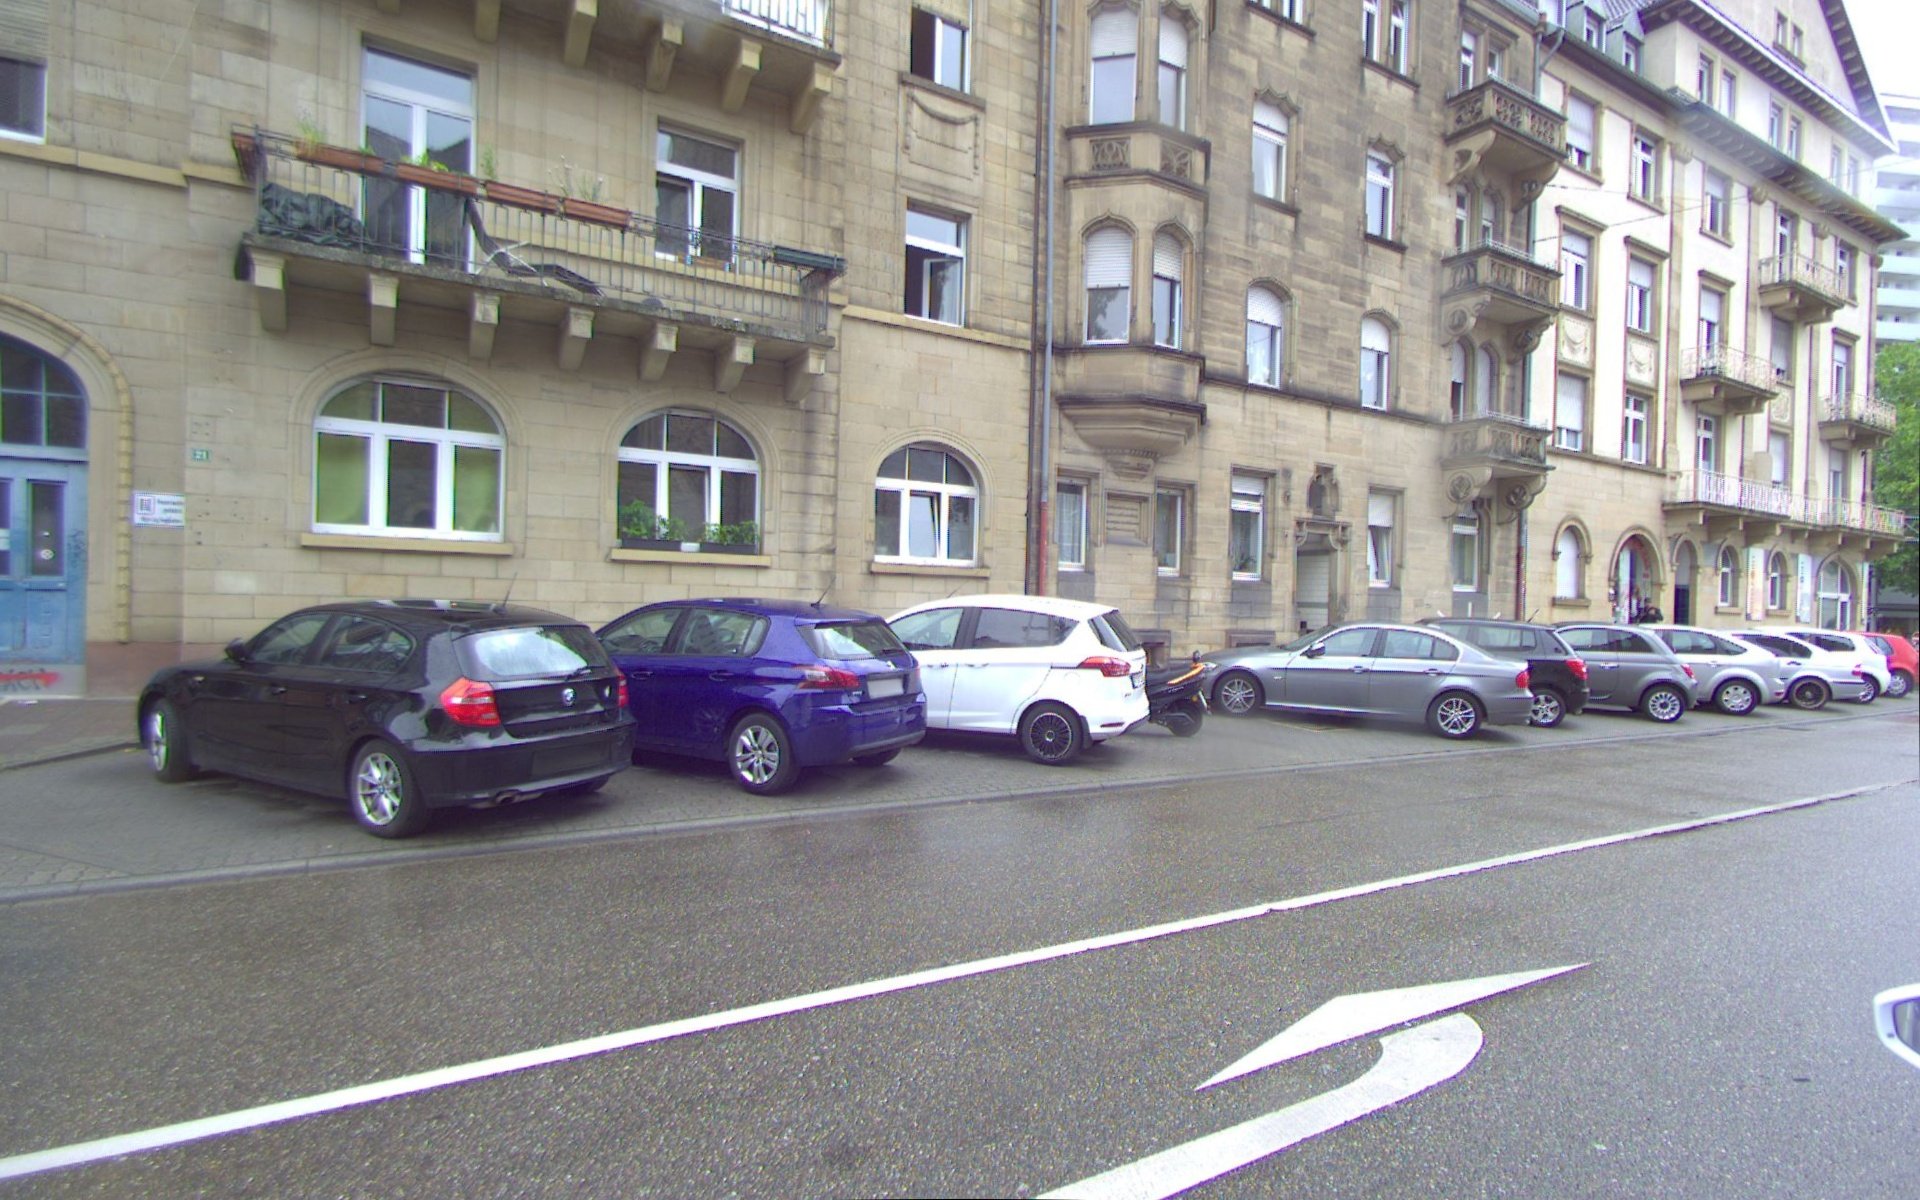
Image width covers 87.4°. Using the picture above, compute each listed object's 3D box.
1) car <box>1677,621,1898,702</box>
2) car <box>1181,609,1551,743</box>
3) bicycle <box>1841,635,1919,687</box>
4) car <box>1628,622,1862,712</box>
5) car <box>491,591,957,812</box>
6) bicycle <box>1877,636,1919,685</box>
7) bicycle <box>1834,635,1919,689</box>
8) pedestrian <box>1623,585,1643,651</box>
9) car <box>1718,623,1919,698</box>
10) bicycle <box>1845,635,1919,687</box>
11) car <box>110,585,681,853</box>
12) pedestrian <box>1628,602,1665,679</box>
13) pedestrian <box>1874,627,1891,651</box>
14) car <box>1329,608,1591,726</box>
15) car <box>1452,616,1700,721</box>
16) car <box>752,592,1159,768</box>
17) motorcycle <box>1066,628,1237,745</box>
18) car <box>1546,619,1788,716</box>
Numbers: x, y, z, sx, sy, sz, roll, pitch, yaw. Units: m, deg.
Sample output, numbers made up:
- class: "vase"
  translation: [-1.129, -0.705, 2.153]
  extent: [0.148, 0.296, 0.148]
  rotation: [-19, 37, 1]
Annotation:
- class: "car"
  translation: [17.950, 1.285, 21.977]
  extent: [3.337, 1.578, 1.705]
  rotation: [1, 0, 21]
- class: "car"
  translation: [5.411, 0.960, 13.879]
  extent: [4.457, 1.565, 1.689]
  rotation: [1, -1, 17]
- class: "bicycle"
  translation: [23.954, 1.560, 25.905]
  extent: [0.492, 1.283, 1.801]
  rotation: [1, -1, -31]
- class: "car"
  translation: [15.672, 1.291, 20.262]
  extent: [3.337, 1.578, 1.705]
  rotation: [1, 0, 21]
- class: "car"
  translation: [-2.195, 0.748, 9.099]
  extent: [3.972, 1.594, 1.795]
  rotation: [1, -1, 31]
- class: "bicycle"
  translation: [26.130, 1.659, 27.257]
  extent: [0.601, 1.283, 1.754]
  rotation: [1, -1, -31]
- class: "bicycle"
  translation: [23.499, 1.556, 25.612]
  extent: [0.516, 1.283, 1.754]
  rotation: [1, -1, -31]
- class: "pedestrian"
  translation: [19.128, 0.518, 28.538]
  extent: [0.343, 1.846, 0.364]
  rotation: [2, -1, -32]
- class: "car"
  translation: [20.219, 1.377, 23.726]
  extent: [3.337, 1.578, 1.705]
  rotation: [1, 0, 21]
- class: "bicycle"
  translation: [24.471, 1.585, 26.365]
  extent: [0.492, 1.283, 1.801]
  rotation: [1, -1, -31]
- class: "car"
  translation: [-4.235, 0.690, 7.485]
  extent: [3.969, 1.532, 1.797]
  rotation: [1, -1, 27]
- class: "pedestrian"
  translation: [18.421, 1.077, 26.947]
  extent: [0.647, 2.040, 0.565]
  rotation: [1, 0, -30]
- class: "pedestrian"
  translation: [59.736, 2.527, 65.032]
  extent: [0.631, 1.550, 0.443]
  rotation: [1, 0, -1]
- class: "car"
  translation: [7.671, 0.980, 15.753]
  extent: [3.484, 1.619, 1.605]
  rotation: [1, 0, 21]
- class: "car"
  translation: [10.364, 1.104, 17.182]
  extent: [3.337, 1.578, 1.652]
  rotation: [1, 0, 21]
- class: "car"
  translation: [-0.013, 0.749, 10.743]
  extent: [3.964, 1.576, 1.799]
  rotation: [1, -1, 20]
- class: "motorcycle"
  translation: [2.261, 0.987, 11.873]
  extent: [1.837, 1.177, 0.633]
  rotation: [3, 1, 23]
- class: "car"
  translation: [12.964, 1.192, 18.662]
  extent: [3.337, 1.578, 1.705]
  rotation: [1, 0, 21]
